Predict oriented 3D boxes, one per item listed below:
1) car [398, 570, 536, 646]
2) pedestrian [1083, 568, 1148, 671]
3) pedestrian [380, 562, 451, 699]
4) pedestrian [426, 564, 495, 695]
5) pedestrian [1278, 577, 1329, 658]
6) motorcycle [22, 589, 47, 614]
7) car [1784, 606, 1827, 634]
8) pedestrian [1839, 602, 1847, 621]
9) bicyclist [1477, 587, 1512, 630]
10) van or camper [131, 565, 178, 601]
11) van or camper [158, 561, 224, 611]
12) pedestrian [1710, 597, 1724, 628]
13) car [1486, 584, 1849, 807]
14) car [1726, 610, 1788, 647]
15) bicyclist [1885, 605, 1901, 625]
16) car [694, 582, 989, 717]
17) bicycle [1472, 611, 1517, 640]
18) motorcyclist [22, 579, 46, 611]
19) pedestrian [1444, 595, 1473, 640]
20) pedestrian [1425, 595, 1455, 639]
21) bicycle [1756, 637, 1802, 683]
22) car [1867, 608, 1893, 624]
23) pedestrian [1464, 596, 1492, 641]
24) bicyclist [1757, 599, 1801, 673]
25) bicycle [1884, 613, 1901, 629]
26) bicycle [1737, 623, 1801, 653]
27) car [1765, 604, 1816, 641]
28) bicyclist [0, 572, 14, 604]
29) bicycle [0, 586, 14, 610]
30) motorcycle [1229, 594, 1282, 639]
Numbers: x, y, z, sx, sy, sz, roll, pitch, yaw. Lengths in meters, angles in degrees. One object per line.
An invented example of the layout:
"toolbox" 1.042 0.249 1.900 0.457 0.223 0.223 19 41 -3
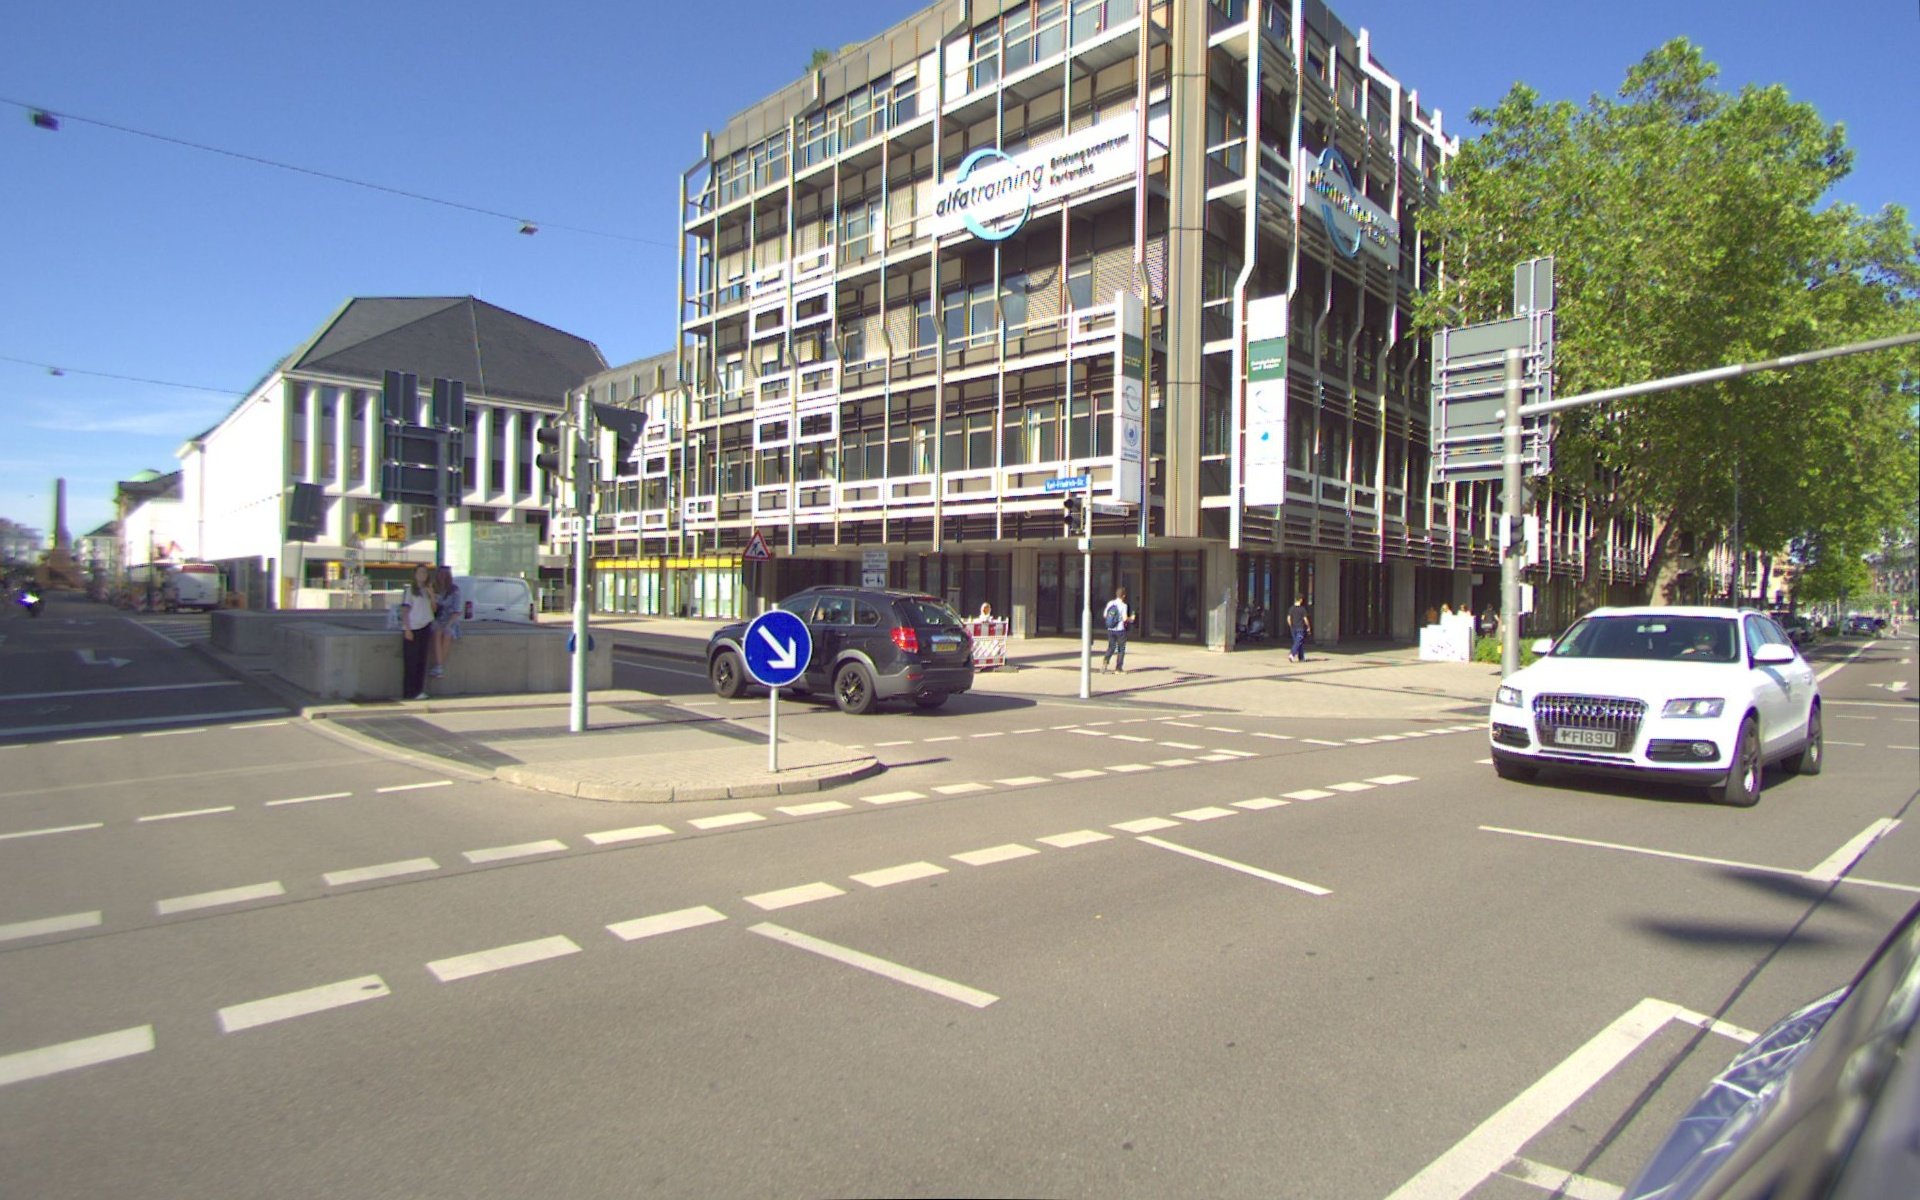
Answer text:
"car" -12.563 0.183 25.676 4.148 1.756 1.763 0 0 43
"pedestrian" 3.188 0.374 20.686 0.943 2.039 1.067 1 0 33
"pedestrian" -6.752 0.361 12.546 0.658 1.632 0.520 3 1 36
"pedestrian" -6.489 0.370 13.143 0.658 1.632 0.520 3 1 36
"pedestrian" 8.803 0.436 25.941 0.944 2.039 1.065 0 -1 37
"motorcycle" -41.425 0.061 45.286 0.782 1.112 2.957 0 0 -43
"car" 51.929 1.205 62.118 1.748 1.573 4.268 3 1 44
"pedestrian" 87.094 1.098 99.791 0.590 1.864 0.560 0 -1 44
"bicyclist" 18.941 0.307 35.853 0.881 1.495 0.869 1 0 44
"van or camper" -59.399 -1.274 74.562 2.284 2.545 6.414 1 0 -43
"van or camper" -42.186 -0.764 55.432 2.284 2.545 6.414 1 0 -43
"pedestrian" 49.984 0.831 66.824 0.738 2.039 0.617 0 -1 41
"car" 6.802 0.712 9.546 4.335 1.634 1.823 1 0 -41
"car" 35.641 1.236 45.208 1.748 1.509 4.487 3 1 44
"bicyclist" 68.573 1.107 74.394 0.828 1.406 0.889 0 -1 45
"car" -1.841 0.618 14.918 4.390 1.721 1.765 0 0 39
"bicycle" 18.976 0.891 35.894 0.881 0.997 2.018 1 0 44
"motorcyclist" -41.330 -0.243 45.159 0.782 1.400 1.081 0 0 -43
"pedestrian" 18.596 0.642 37.752 0.715 1.620 0.667 1 2 -44
"pedestrian" 18.147 0.633 38.249 0.666 1.620 0.993 4 2 45
"bicycle" 19.322 1.391 23.872 0.709 1.006 1.894 -2 -2 42
"car" 96.070 1.657 105.679 1.992 1.627 3.836 0 0 42
"pedestrian" 19.012 0.678 37.122 0.666 1.620 0.716 4 2 45
"bicyclist" 19.325 0.843 23.885 0.709 1.709 0.839 -3 -3 43
"bicycle" 68.559 1.523 74.393 0.843 1.144 2.512 0 -1 44
"bicycle" 30.799 1.435 38.546 1.841 0.972 0.701 3 1 40
"car" 44.258 1.167 53.917 1.748 1.844 4.268 3 1 44
"bicyclist" -50.519 -0.627 53.447 0.782 1.691 0.954 0 0 -43
"bicycle" -50.464 -0.109 53.391 0.782 1.229 2.957 0 0 -43
"motorcycle" 9.933 0.529 34.023 0.823 1.460 2.088 1 0 44
